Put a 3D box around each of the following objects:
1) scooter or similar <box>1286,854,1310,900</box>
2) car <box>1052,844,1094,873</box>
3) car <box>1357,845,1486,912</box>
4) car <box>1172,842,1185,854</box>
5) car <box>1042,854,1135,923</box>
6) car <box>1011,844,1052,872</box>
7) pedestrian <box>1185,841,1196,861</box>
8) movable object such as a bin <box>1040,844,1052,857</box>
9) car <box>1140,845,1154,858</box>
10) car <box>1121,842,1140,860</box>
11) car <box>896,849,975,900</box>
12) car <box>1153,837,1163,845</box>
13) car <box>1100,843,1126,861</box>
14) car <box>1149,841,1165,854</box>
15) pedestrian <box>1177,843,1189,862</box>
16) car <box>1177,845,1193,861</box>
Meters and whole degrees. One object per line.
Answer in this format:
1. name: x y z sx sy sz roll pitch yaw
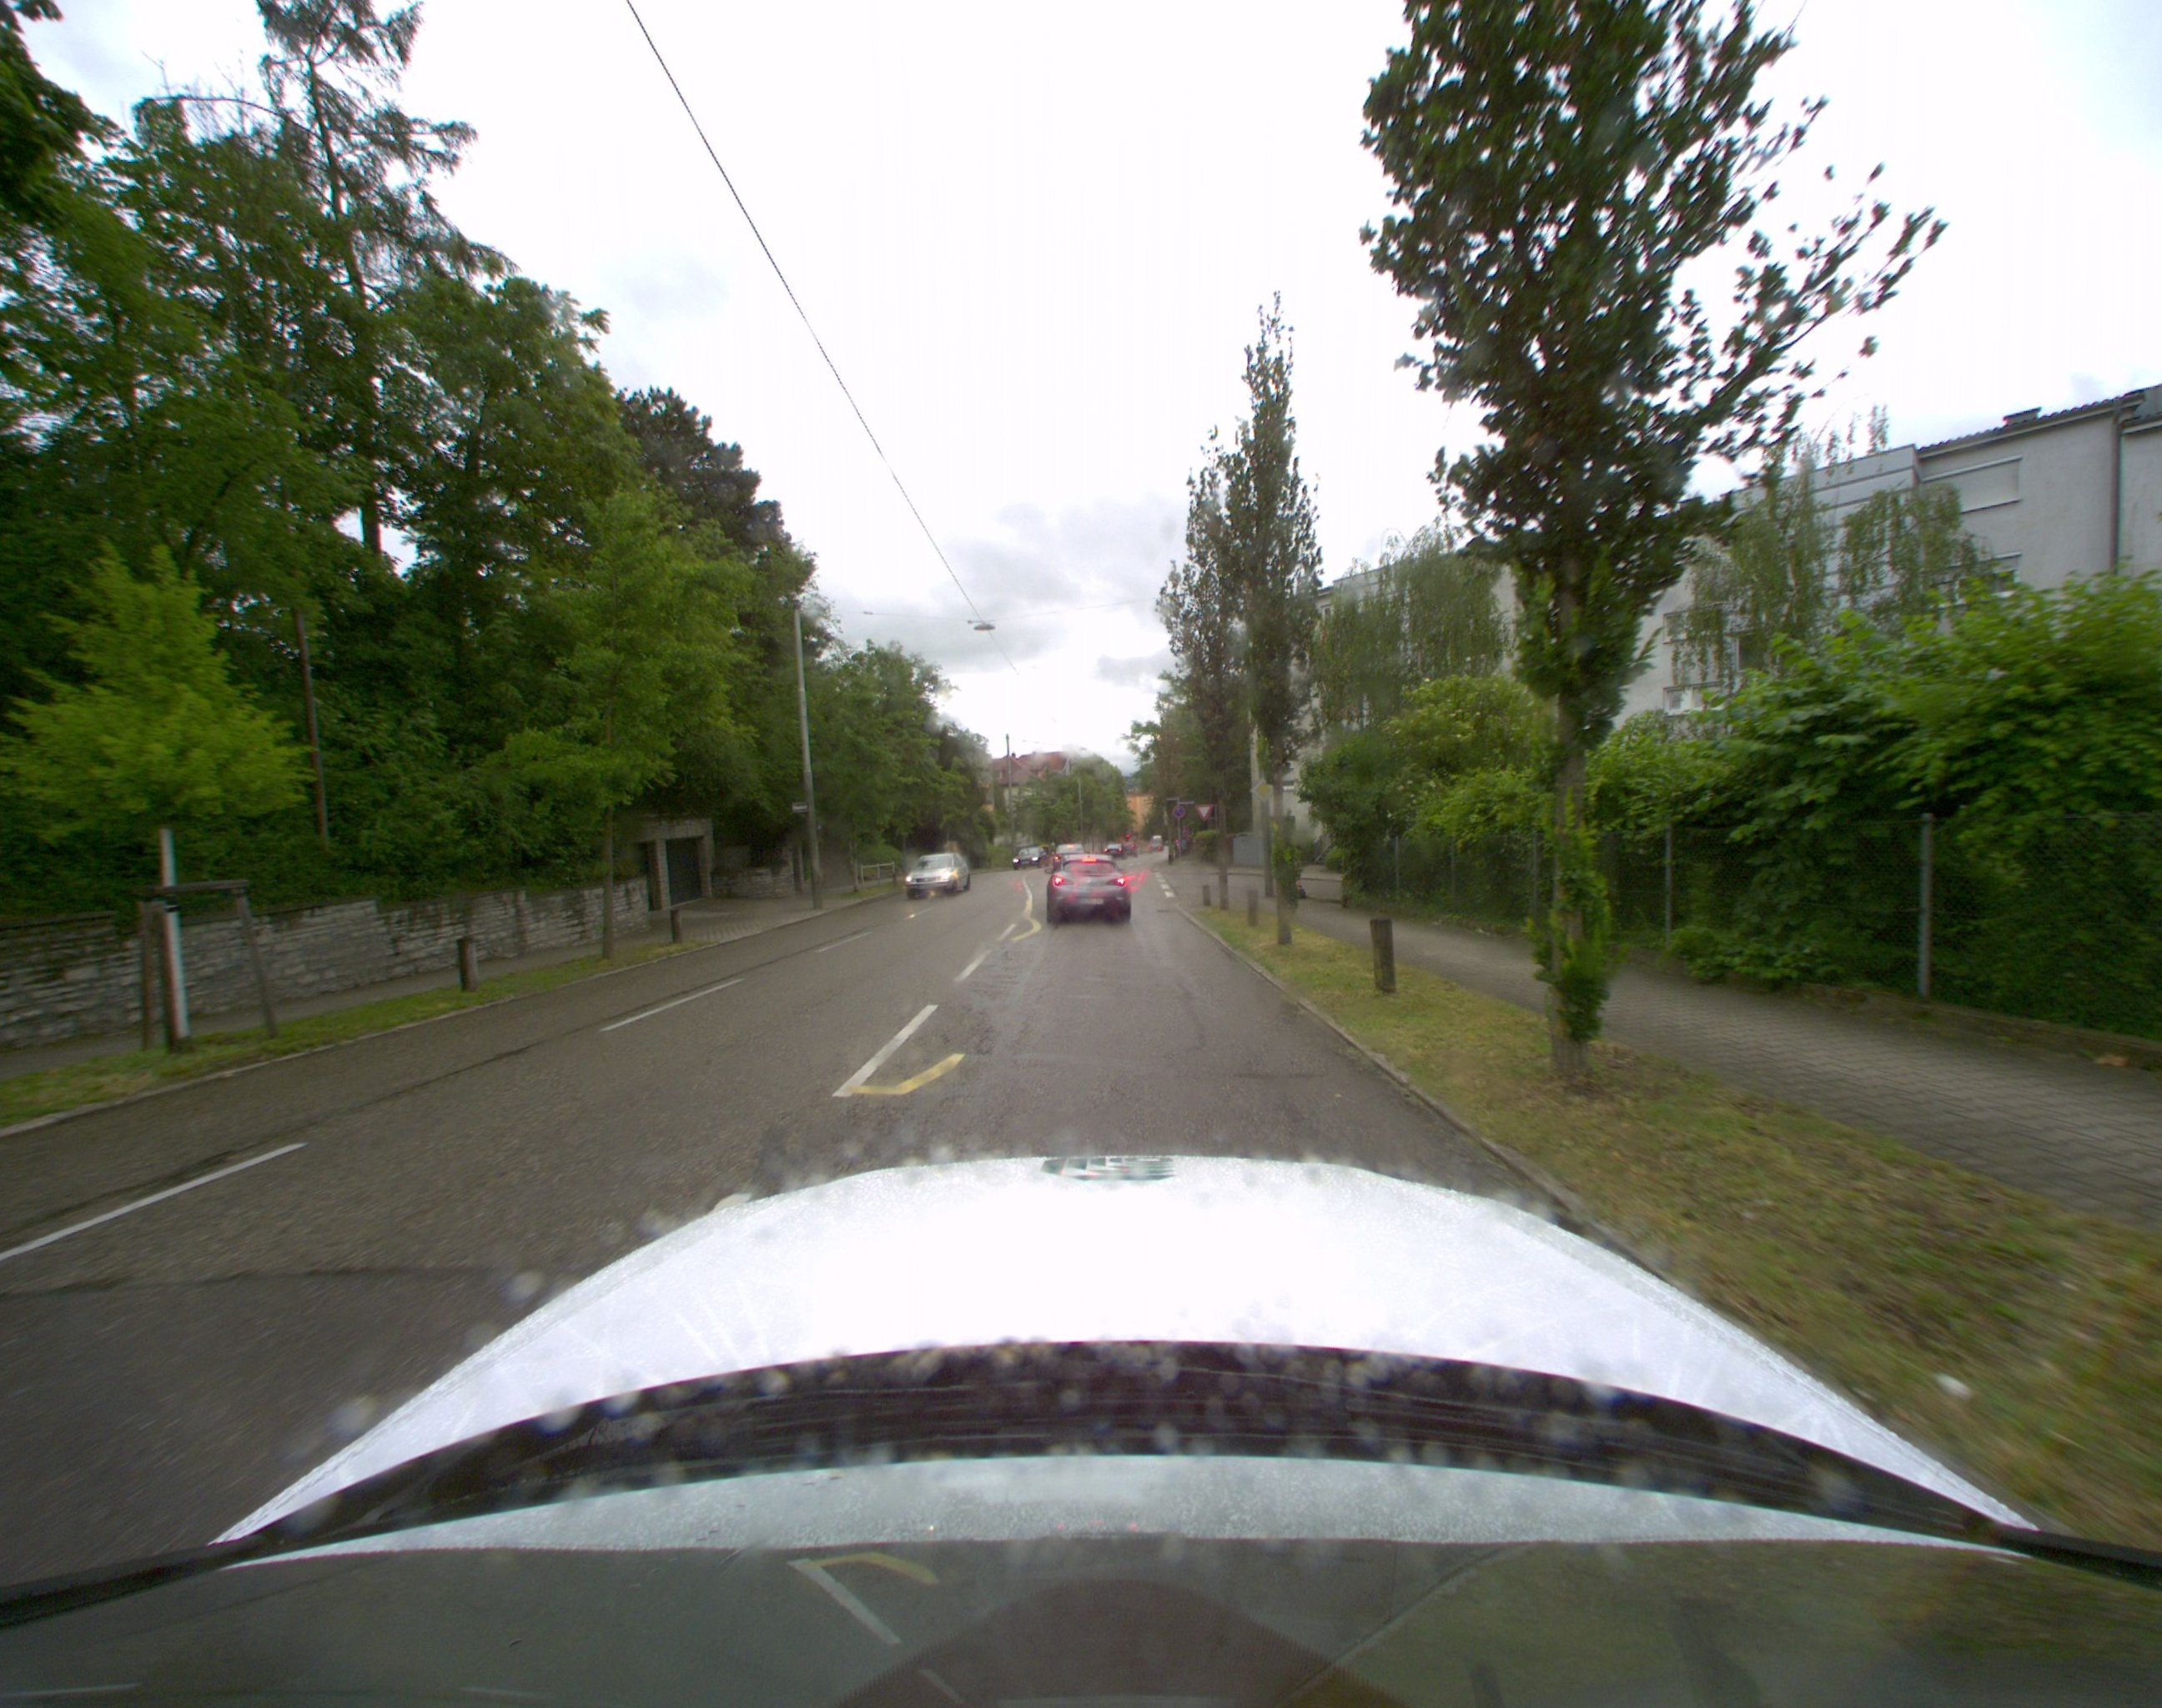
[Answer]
1. scooter or similar: 6.130 0.639 23.050 0.341 1.254 1.267 0 -1 0
2. car: -0.331 0.205 40.668 1.790 1.323 4.004 -1 0 3
3. car: 8.288 0.531 20.178 1.499 1.435 4.000 1 1 0
4. car: 16.665 -1.019 139.510 1.982 2.036 4.747 0 1 9
5. car: 0.207 0.722 18.880 1.938 1.432 3.885 0 0 1
6. car: -3.209 0.211 53.711 1.903 1.585 4.592 -6 0 4
7. pedestrian: 10.422 -0.324 77.350 0.665 1.836 0.685 -5 0 -17
8. movable object such as a bin: -4.065 -0.408 94.355 1.265 1.387 0.490 -1 1 6
9. car: 8.958 -0.362 111.006 1.745 1.651 4.008 0 0 7
10. car: 5.140 -0.302 83.981 1.759 1.781 3.984 0 1 7
11. car: -5.005 0.665 28.563 1.757 1.486 3.805 -4 1 3
12. car: 17.390 -2.865 184.174 1.982 1.784 4.011 0 1 9
13. car: 2.808 -0.158 70.847 1.950 1.472 3.959 0 1 7
14. car: 12.349 -1.081 131.590 2.320 2.036 4.747 0 1 9
15. pedestrian: 9.611 -0.136 77.028 0.736 1.723 0.761 -5 0 -17
16. car: 10.202 -0.119 79.942 1.495 1.435 4.008 -3 0 7
